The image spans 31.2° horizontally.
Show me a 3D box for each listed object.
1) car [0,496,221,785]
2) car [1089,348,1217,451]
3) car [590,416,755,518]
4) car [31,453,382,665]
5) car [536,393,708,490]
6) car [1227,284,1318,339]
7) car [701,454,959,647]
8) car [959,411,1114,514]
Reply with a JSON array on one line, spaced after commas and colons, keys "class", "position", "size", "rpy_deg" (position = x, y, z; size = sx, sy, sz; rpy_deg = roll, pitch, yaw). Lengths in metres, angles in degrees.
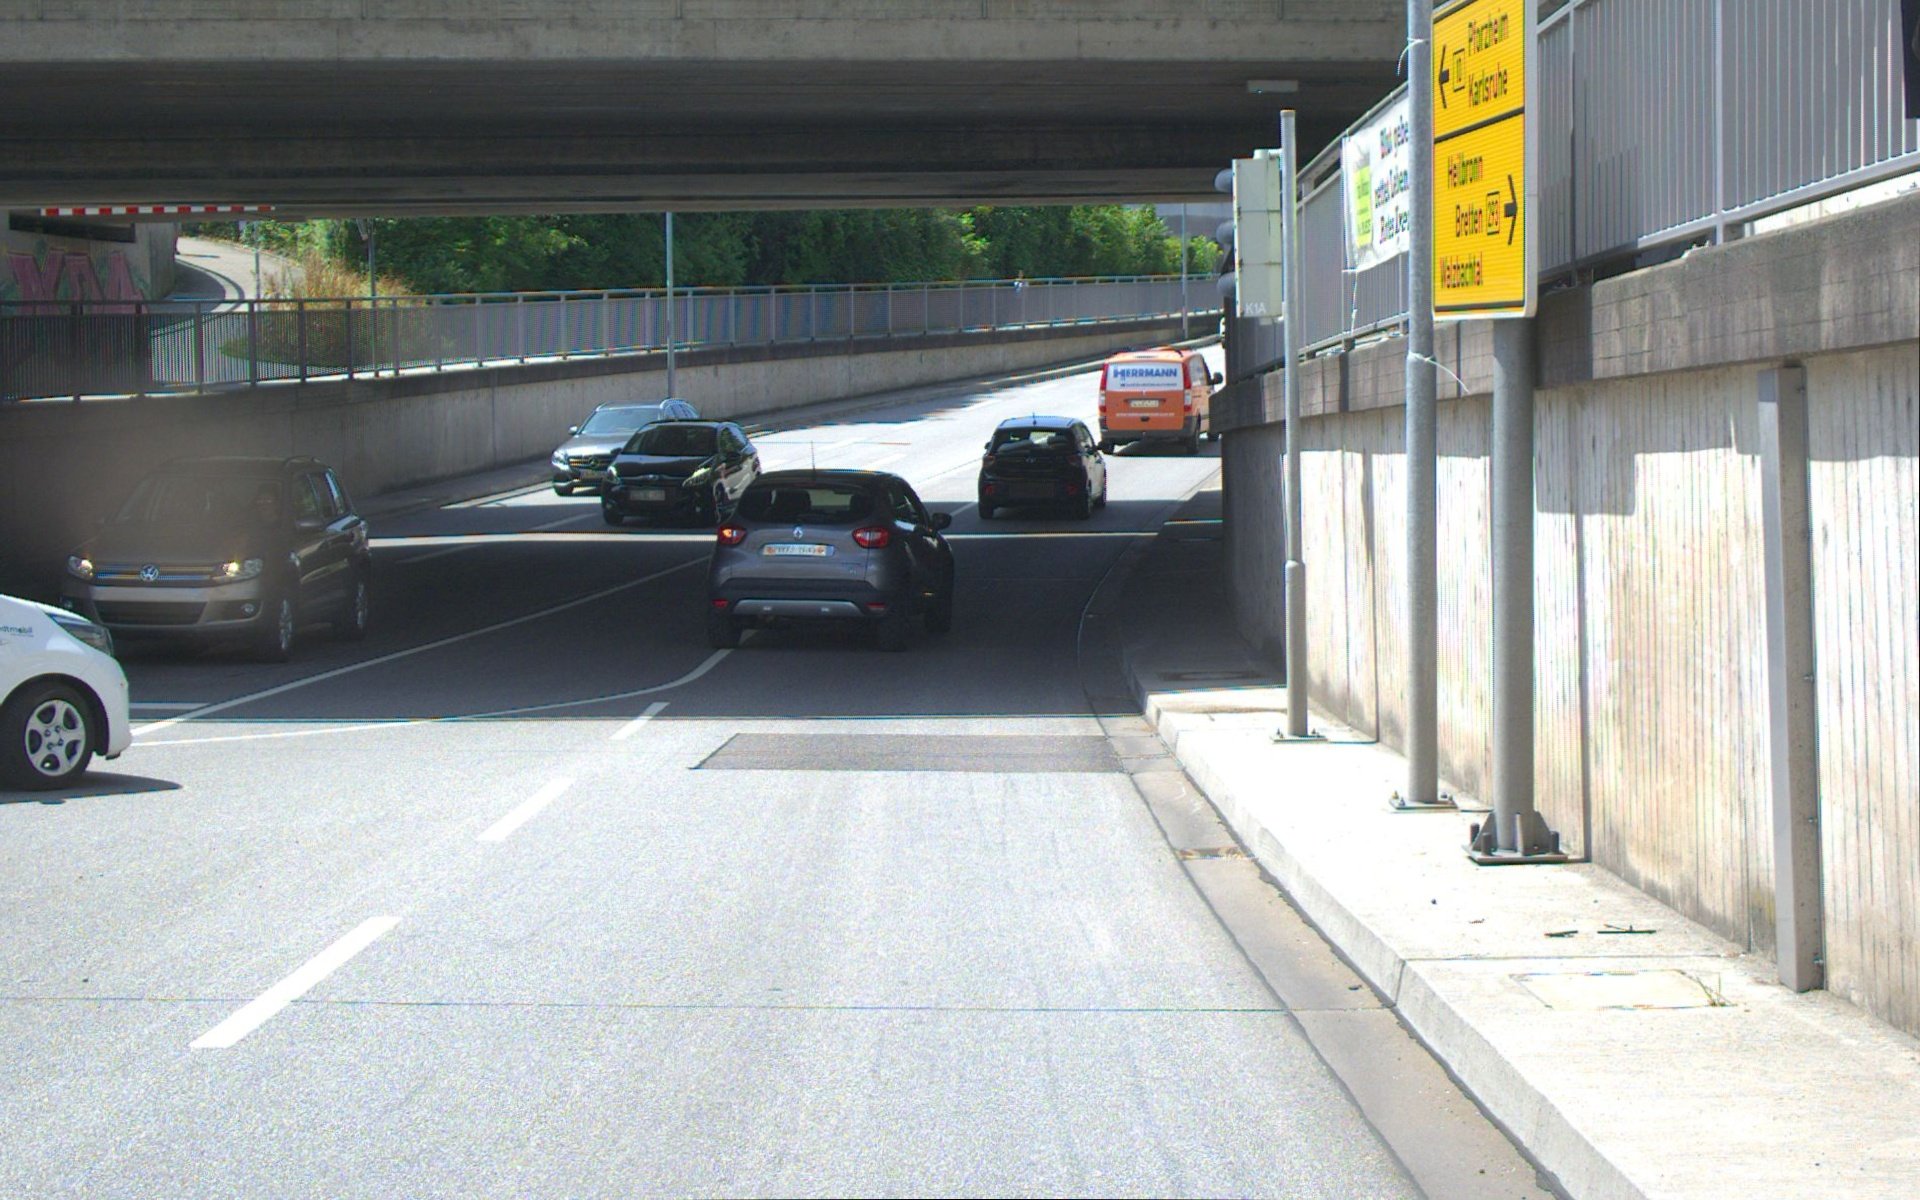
[{"class": "car", "position": [-6.006, 0.231, 17.685], "size": [3.990, 1.415, 1.730], "rpy_deg": [-3, 5, -44]}, {"class": "car", "position": [3.803, -3.913, 67.113], "size": [1.873, 1.925, 4.718], "rpy_deg": [1, 3, 11]}, {"class": "car", "position": [-4.220, -2.010, 51.056], "size": [1.782, 1.431, 4.000], "rpy_deg": [0, 3, 5]}, {"class": "car", "position": [-6.365, -0.413, 29.505], "size": [1.993, 1.621, 4.001], "rpy_deg": [0, 3, 2]}, {"class": "car", "position": [-5.684, -2.710, 58.221], "size": [1.994, 1.583, 3.999], "rpy_deg": [0, 3, 8]}, {"class": "car", "position": [9.630, -8.876, 105.663], "size": [1.995, 1.583, 3.998], "rpy_deg": [2, 6, 17]}, {"class": "car", "position": [-1.114, -0.509, 31.432], "size": [1.994, 1.583, 4.000], "rpy_deg": [0, 3, 3]}, {"class": "car", "position": [1.208, -2.119, 52.543], "size": [1.994, 1.502, 4.000], "rpy_deg": [0, 3, 7]}]
